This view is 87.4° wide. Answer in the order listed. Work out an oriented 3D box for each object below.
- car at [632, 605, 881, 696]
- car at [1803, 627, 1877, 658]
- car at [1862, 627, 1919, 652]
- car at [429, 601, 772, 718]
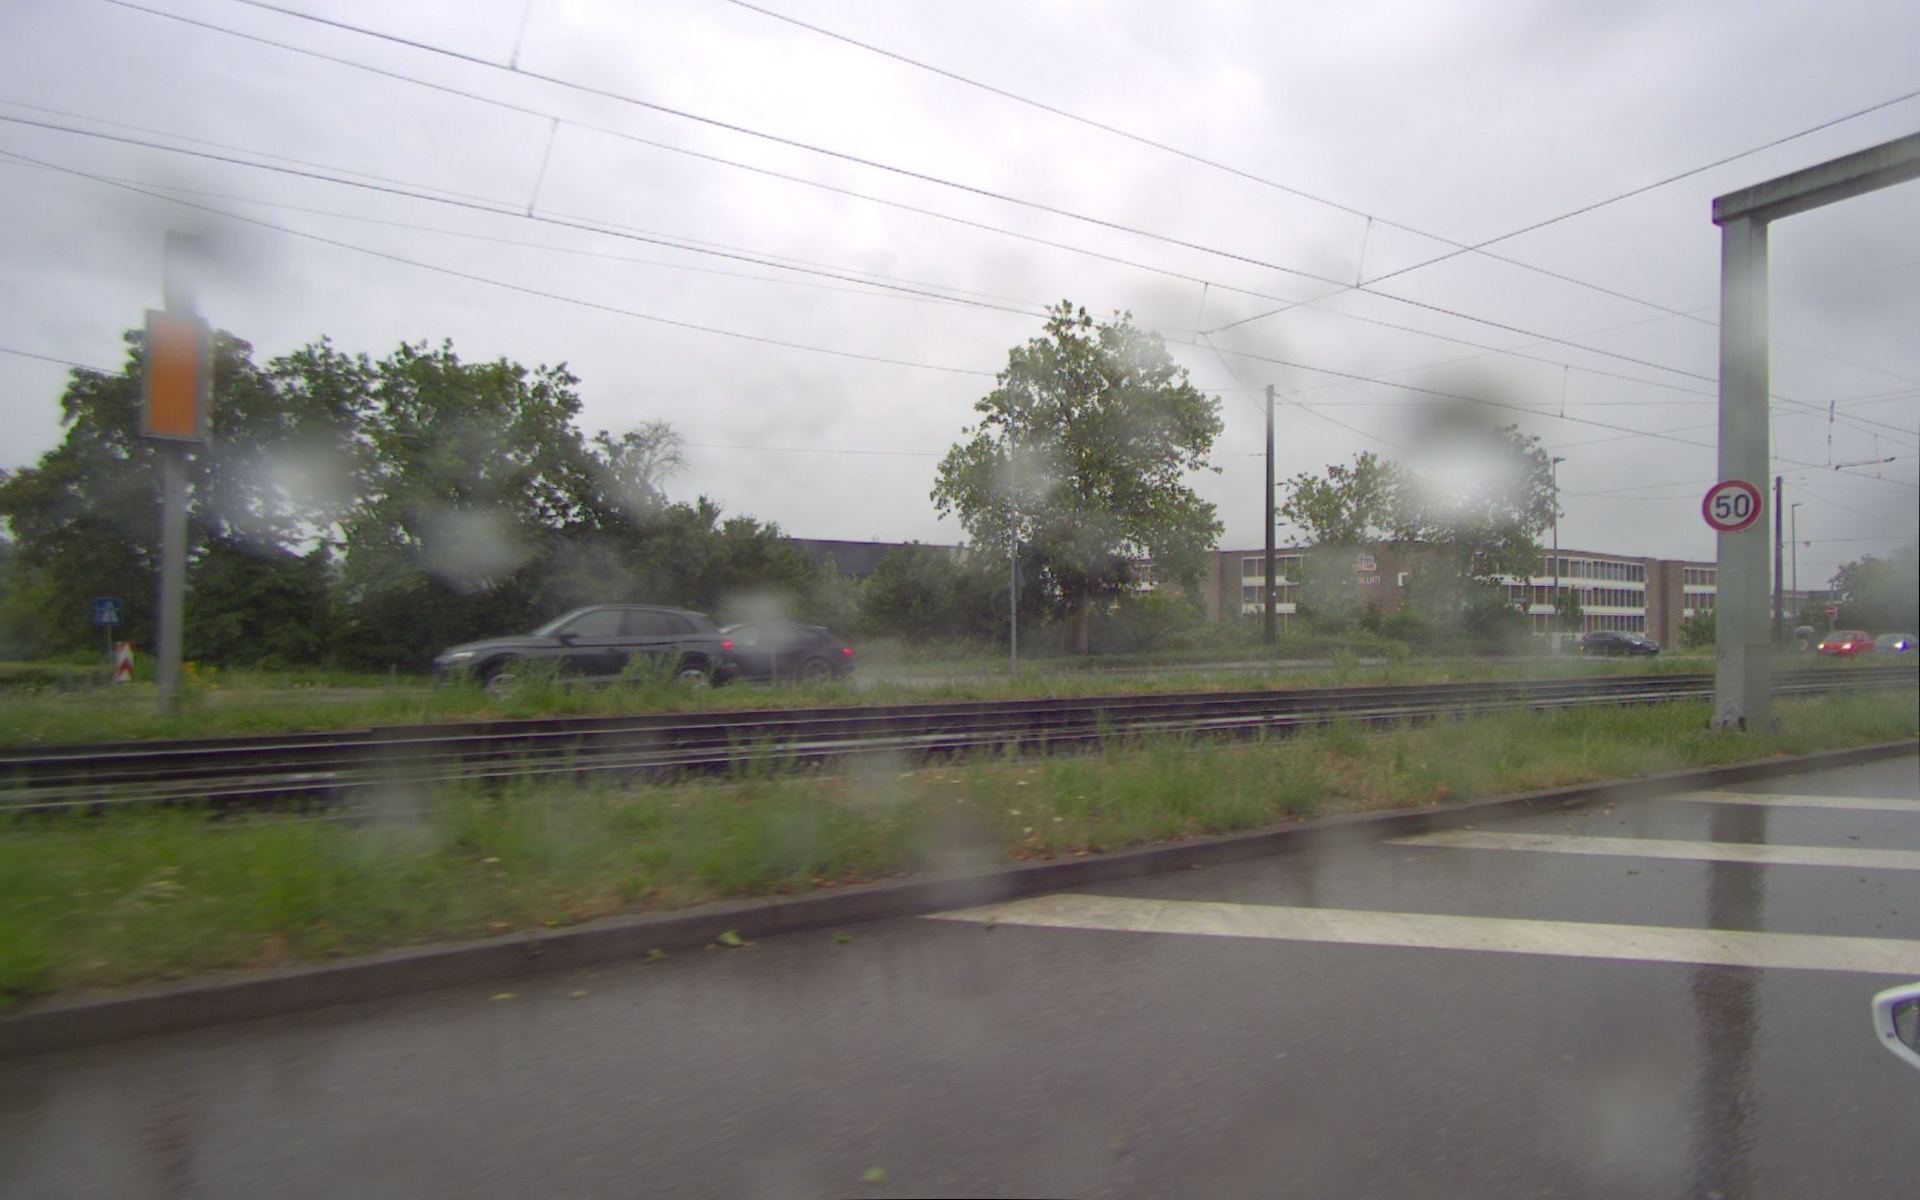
[{"bbox_3d":[-4.172,0.988,20.929,4.729,1.709,1.932,1,-1,-34],"label":"car"},{"bbox_3d":[44.713,2.140,51.004,3.954,1.514,1.712,1,-1,-31],"label":"car"},{"bbox_3d":[58.520,2.447,63.068,3.954,1.514,1.712,1,-1,-31],"label":"car"},{"bbox_3d":[-5.719,0.889,16.275,4.936,1.637,1.931,1,-1,-34],"label":"car"}]
